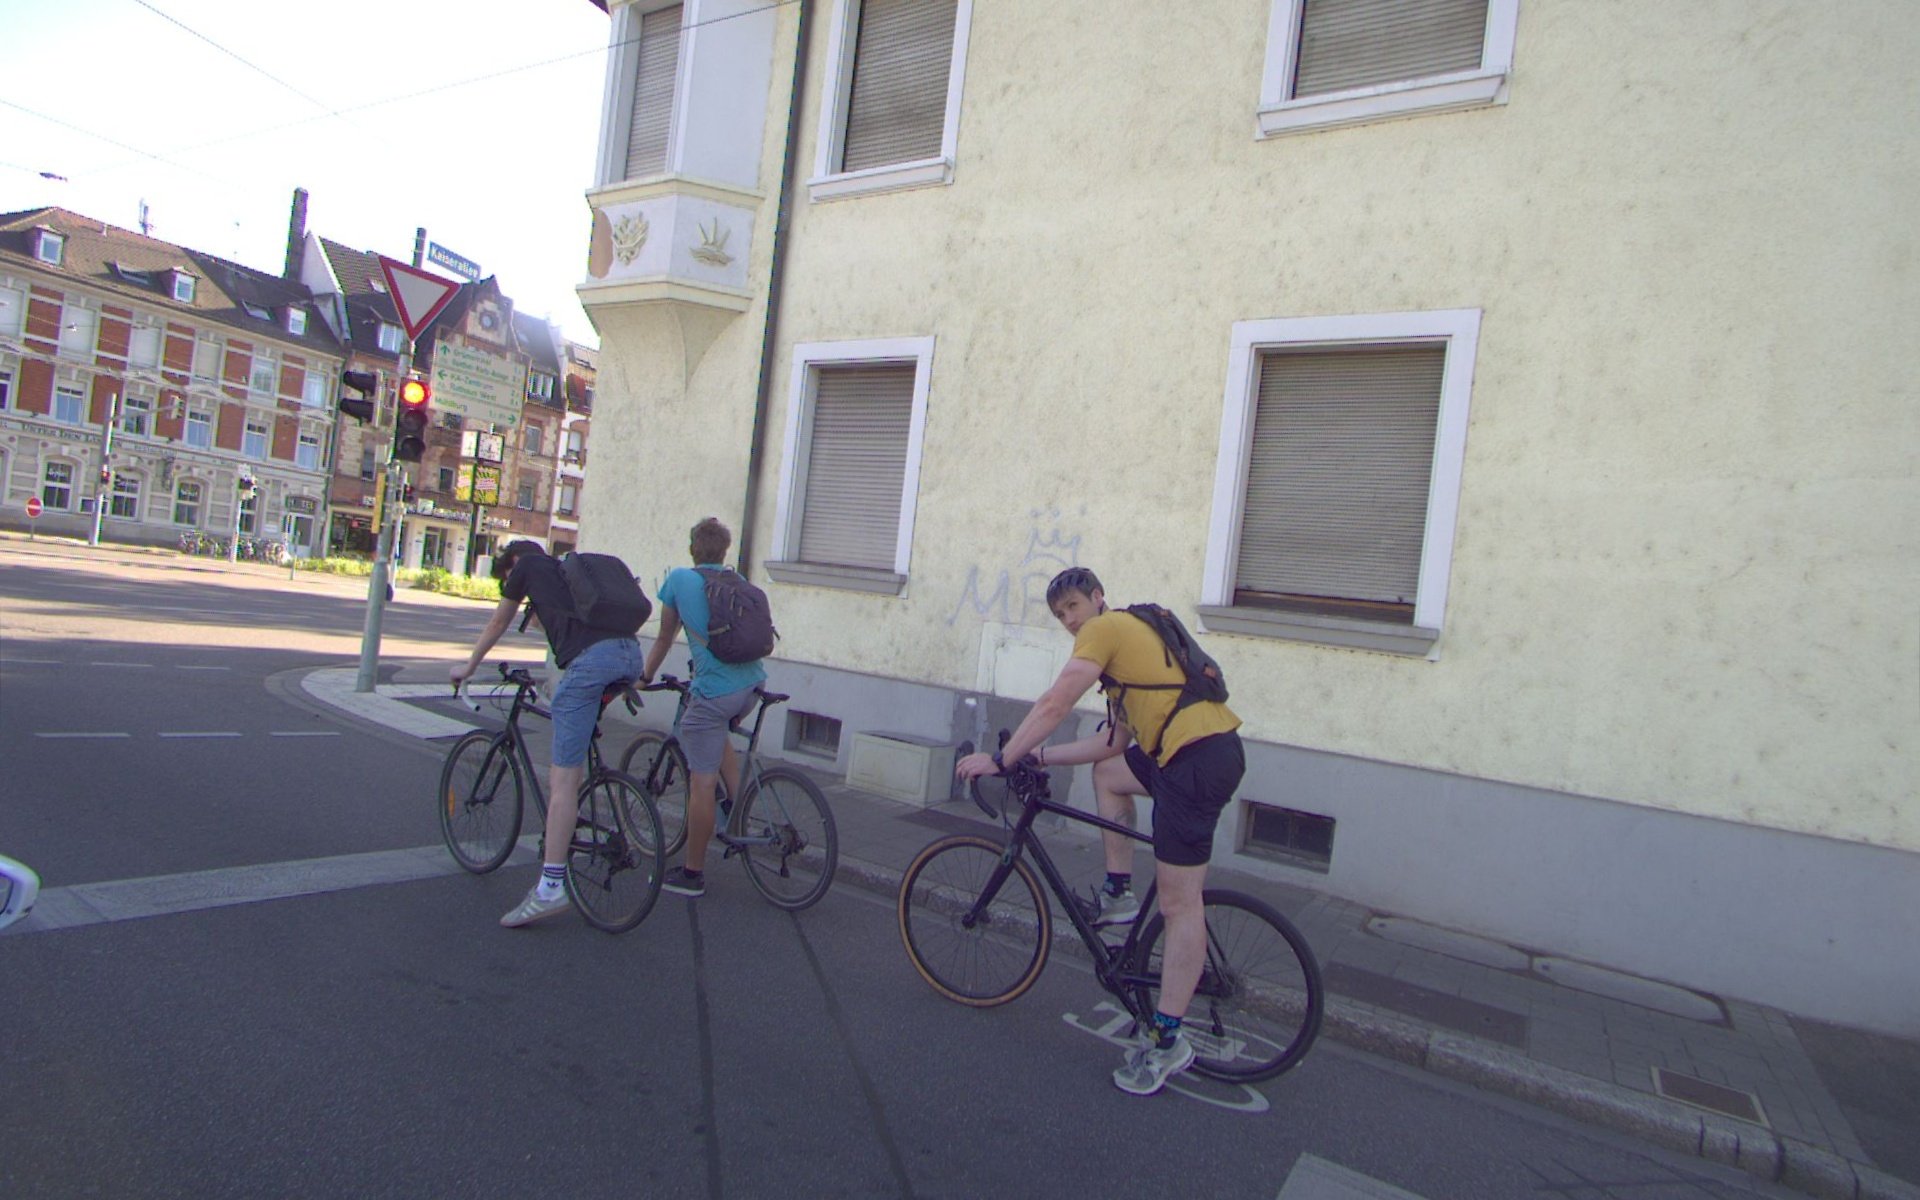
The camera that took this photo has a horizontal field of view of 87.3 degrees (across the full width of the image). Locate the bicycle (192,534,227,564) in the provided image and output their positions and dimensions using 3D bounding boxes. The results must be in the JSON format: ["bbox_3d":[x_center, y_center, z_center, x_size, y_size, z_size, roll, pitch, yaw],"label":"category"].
[{"bbox_3d":[-34.542,-2.355,46.282,2.140,1.157,0.618,7,0,37],"label":"bicycle"}]

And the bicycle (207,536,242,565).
[{"bbox_3d":[-34.206,-2.307,46.759,2.140,1.157,0.618,7,0,37],"label":"bicycle"}]

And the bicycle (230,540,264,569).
[{"bbox_3d":[-33.673,-2.160,47.510,2.140,1.157,0.618,7,0,37],"label":"bicycle"}]

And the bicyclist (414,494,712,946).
[{"bbox_3d":[-1.804,0.469,4.544,1.083,1.775,0.562,7,0,34],"label":"bicyclist"}]

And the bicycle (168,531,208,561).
[{"bbox_3d":[-35.056,-2.444,45.679,2.140,1.157,0.806,7,0,37],"label":"bicycle"}]

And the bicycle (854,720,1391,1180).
[{"bbox_3d":[0.551,1.143,3.765,1.780,1.101,0.611,7,0,32],"label":"bicycle"}]

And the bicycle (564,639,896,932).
[{"bbox_3d":[-1.255,0.883,5.280,1.784,1.130,0.519,7,0,34],"label":"bicycle"}]

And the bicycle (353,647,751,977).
[{"bbox_3d":[-1.915,0.851,4.590,1.897,1.023,0.645,7,0,34],"label":"bicycle"}]

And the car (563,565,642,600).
[{"bbox_3d":[-23.165,-1.122,65.320,2.116,1.660,4.340,7,-1,31],"label":"car"}]

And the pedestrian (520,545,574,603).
[{"bbox_3d":[-16.562,-1.039,40.376,1.285,2.068,1.321,7,0,31],"label":"pedestrian"}]

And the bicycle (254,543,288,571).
[{"bbox_3d":[-33.109,-2.066,48.314,2.102,1.150,0.609,7,0,37],"label":"bicycle"}]

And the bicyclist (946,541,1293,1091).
[{"bbox_3d":[0.597,0.714,3.774,0.939,1.742,0.582,7,0,32],"label":"bicyclist"}]

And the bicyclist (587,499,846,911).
[{"bbox_3d":[-1.271,0.496,5.245,0.961,1.917,0.602,6,-1,34],"label":"bicyclist"}]
